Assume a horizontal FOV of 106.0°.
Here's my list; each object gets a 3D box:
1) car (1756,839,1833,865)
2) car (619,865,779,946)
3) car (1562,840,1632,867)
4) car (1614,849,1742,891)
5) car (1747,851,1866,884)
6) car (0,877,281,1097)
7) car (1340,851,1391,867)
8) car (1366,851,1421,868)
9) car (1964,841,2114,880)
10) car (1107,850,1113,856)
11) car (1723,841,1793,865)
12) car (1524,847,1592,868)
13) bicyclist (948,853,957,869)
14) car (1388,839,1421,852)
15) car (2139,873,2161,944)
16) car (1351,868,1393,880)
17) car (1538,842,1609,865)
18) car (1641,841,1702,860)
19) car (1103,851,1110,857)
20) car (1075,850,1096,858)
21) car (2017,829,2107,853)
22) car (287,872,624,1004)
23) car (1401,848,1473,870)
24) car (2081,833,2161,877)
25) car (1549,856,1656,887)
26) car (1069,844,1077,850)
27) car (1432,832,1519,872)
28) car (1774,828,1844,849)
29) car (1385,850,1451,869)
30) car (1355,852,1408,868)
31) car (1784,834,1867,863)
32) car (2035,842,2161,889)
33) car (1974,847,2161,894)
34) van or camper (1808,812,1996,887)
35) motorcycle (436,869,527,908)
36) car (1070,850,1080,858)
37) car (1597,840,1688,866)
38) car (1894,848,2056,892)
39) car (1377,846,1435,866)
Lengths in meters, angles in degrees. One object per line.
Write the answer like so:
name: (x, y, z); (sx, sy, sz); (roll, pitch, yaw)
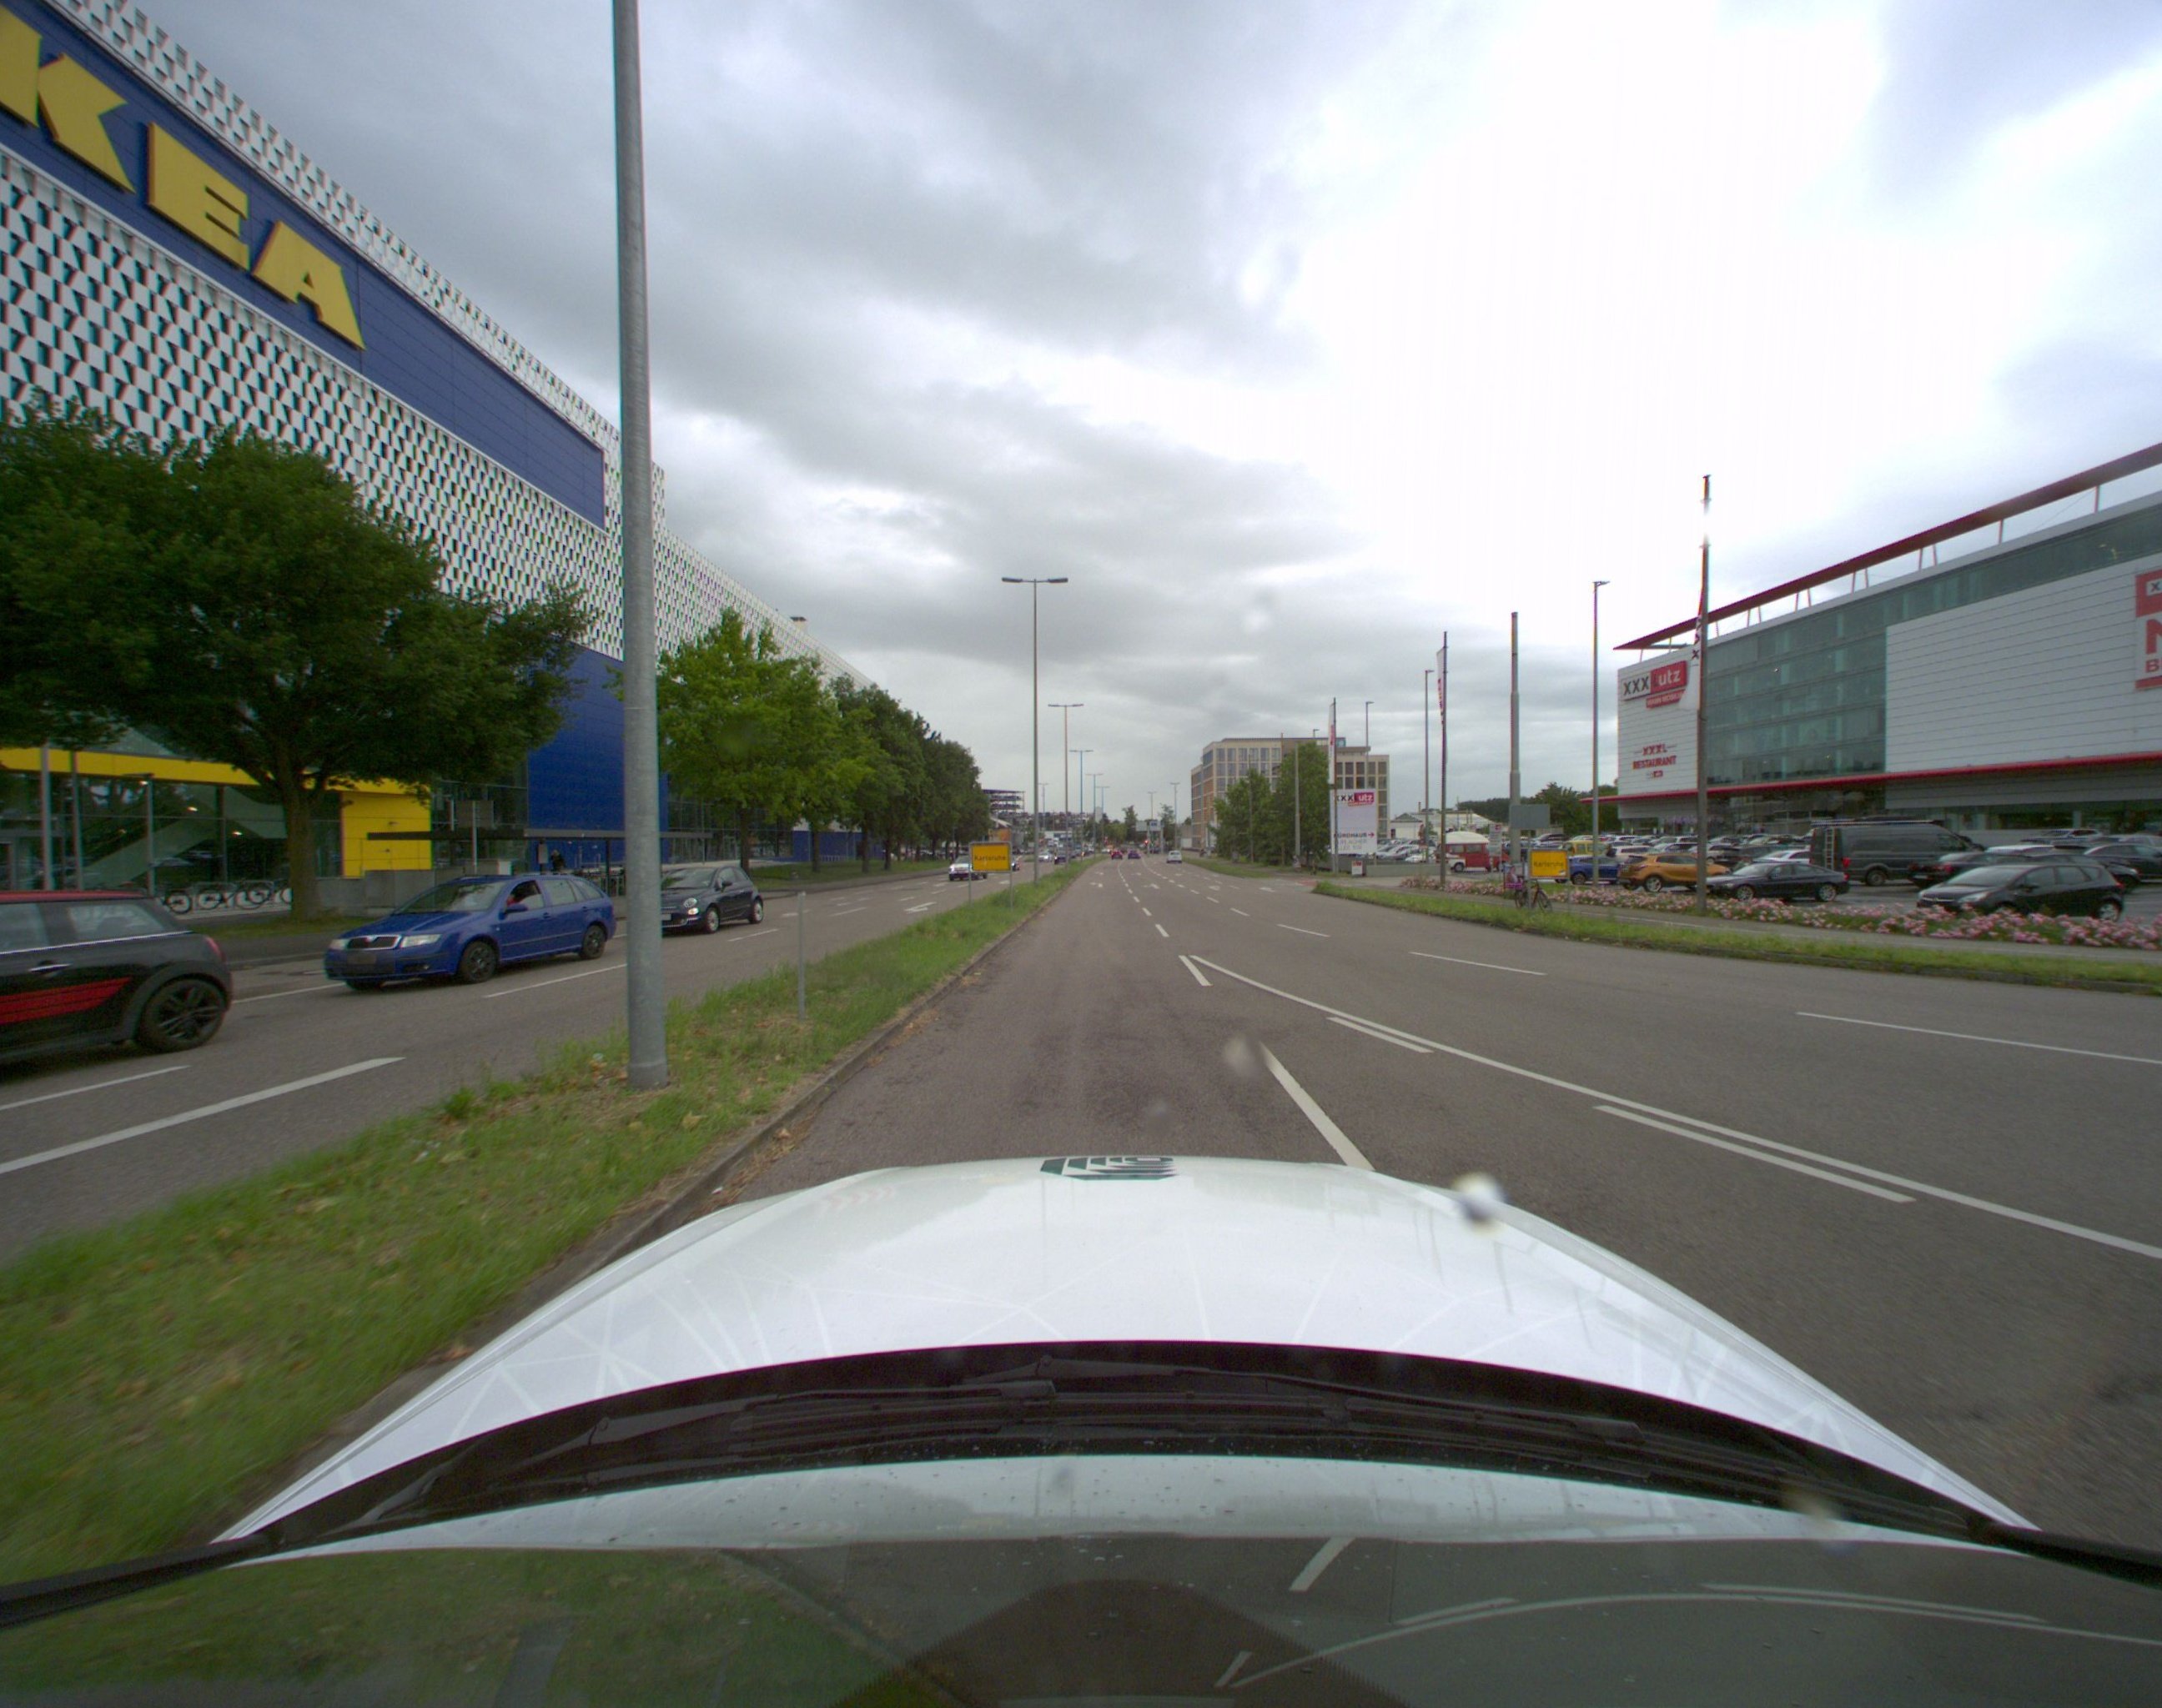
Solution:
car: (50.982, -0.169, 58.259); (3.976, 1.840, 1.840); (0, 0, -2)
car: (-8.536, 1.077, 18.599); (1.597, 1.497, 4.038); (-3, 0, 1)
car: (35.576, -0.070, 56.221); (3.720, 1.767, 1.736); (0, 2, 3)
car: (25.009, 0.658, 34.207); (3.966, 1.643, 1.818); (-1, 0, 6)
car: (34.691, 0.632, 39.009); (3.970, 1.552, 1.865); (0, 0, 3)
car: (-8.479, 1.002, 5.678); (1.656, 1.503, 4.066); (-3, 0, 1)
car: (26.257, 0.424, 75.297); (4.137, 1.350, 1.810); (0, 2, 1)
car: (26.396, 0.442, 68.865); (4.040, 1.350, 1.836); (0, 2, 1)
car: (39.956, 0.255, 34.046); (3.970, 1.555, 1.856); (0, 0, 2)
car: (7.272, -0.335, 204.503); (1.594, 1.453, 3.328); (0, 2, 3)
car: (52.345, -0.053, 63.024); (3.972, 1.820, 1.787); (0, 0, 2)
car: (35.725, 0.239, 61.045); (3.973, 1.534, 1.889); (0, 0, 1)
bicyclist: (-13.332, 0.740, 84.501); (0.638, 1.577, 1.000); (1, 0, 1)
car: (41.784, -1.088, 105.178); (3.613, 1.632, 1.704); (0, 2, 6)
car: (24.397, 1.142, 16.294); (4.094, 1.445, 1.875); (-1, 2, -1)
car: (32.328, 2.212, 90.603); (4.040, 1.350, 1.764); (0, 0, 0)
car: (35.447, -0.036, 58.671); (3.970, 1.595, 1.881); (0, 2, 3)
car: (51.359, -0.307, 70.912); (3.968, 1.561, 1.779); (0, 2, 4)
car: (6.205, 0.013, 196.396); (1.594, 1.453, 3.328); (0, 2, 3)
car: (0.930, -0.046, 178.974); (4.407, 1.660, 1.997); (-1, 0, -4)
car: (66.302, -0.900, 55.083); (3.779, 1.553, 1.831); (0, 2, 1)
car: (-8.711, 1.062, 11.895); (1.597, 1.444, 4.144); (-3, 0, 1)
car: (25.715, 0.359, 58.947); (4.356, 1.461, 1.963); (0, 2, 3)
car: (51.002, 0.028, 38.960); (3.971, 2.047, 1.885); (0, 0, 2)
car: (24.999, 0.829, 39.174); (3.971, 1.455, 1.816); (-1, 0, 2)
car: (-2.292, -2.026, 236.995); (1.766, 1.705, 3.926); (0, 2, 8)
car: (26.151, -0.153, 54.122); (4.702, 2.578, 2.173); (0, 2, 3)
car: (56.698, -1.252, 63.445); (3.779, 1.553, 1.831); (0, 2, 1)
car: (26.215, 0.413, 63.464); (4.446, 1.419, 1.869); (0, 2, 3)
car: (26.254, 0.506, 71.315); (4.040, 1.350, 1.764); (0, 2, 1)
car: (51.111, -0.401, 55.972); (3.975, 1.926, 1.934); (-1, 0, -1)
car: (39.570, 0.406, 31.089); (3.970, 1.670, 1.887); (-1, 0, 3)
car: (34.613, 0.567, 28.667); (3.965, 1.555, 1.952); (-1, 0, 7)
van or camper: (34.079, -0.175, 33.972); (5.347, 2.983, 1.997); (-1, 0, 10)
motorcycle: (-21.509, 1.237, 29.280); (2.492, 1.355, 0.797); (1, 0, -11)
car: (-1.152, 0.046, 162.836); (1.773, 1.455, 4.185); (-2, 0, 2)
car: (34.951, -0.075, 50.791); (4.392, 1.583, 1.836); (0, 2, 3)
car: (34.258, 0.583, 31.301); (3.971, 1.568, 2.001); (-1, 0, 2)
car: (26.404, 0.161, 66.181); (4.037, 1.540, 1.766); (0, 2, 3)
